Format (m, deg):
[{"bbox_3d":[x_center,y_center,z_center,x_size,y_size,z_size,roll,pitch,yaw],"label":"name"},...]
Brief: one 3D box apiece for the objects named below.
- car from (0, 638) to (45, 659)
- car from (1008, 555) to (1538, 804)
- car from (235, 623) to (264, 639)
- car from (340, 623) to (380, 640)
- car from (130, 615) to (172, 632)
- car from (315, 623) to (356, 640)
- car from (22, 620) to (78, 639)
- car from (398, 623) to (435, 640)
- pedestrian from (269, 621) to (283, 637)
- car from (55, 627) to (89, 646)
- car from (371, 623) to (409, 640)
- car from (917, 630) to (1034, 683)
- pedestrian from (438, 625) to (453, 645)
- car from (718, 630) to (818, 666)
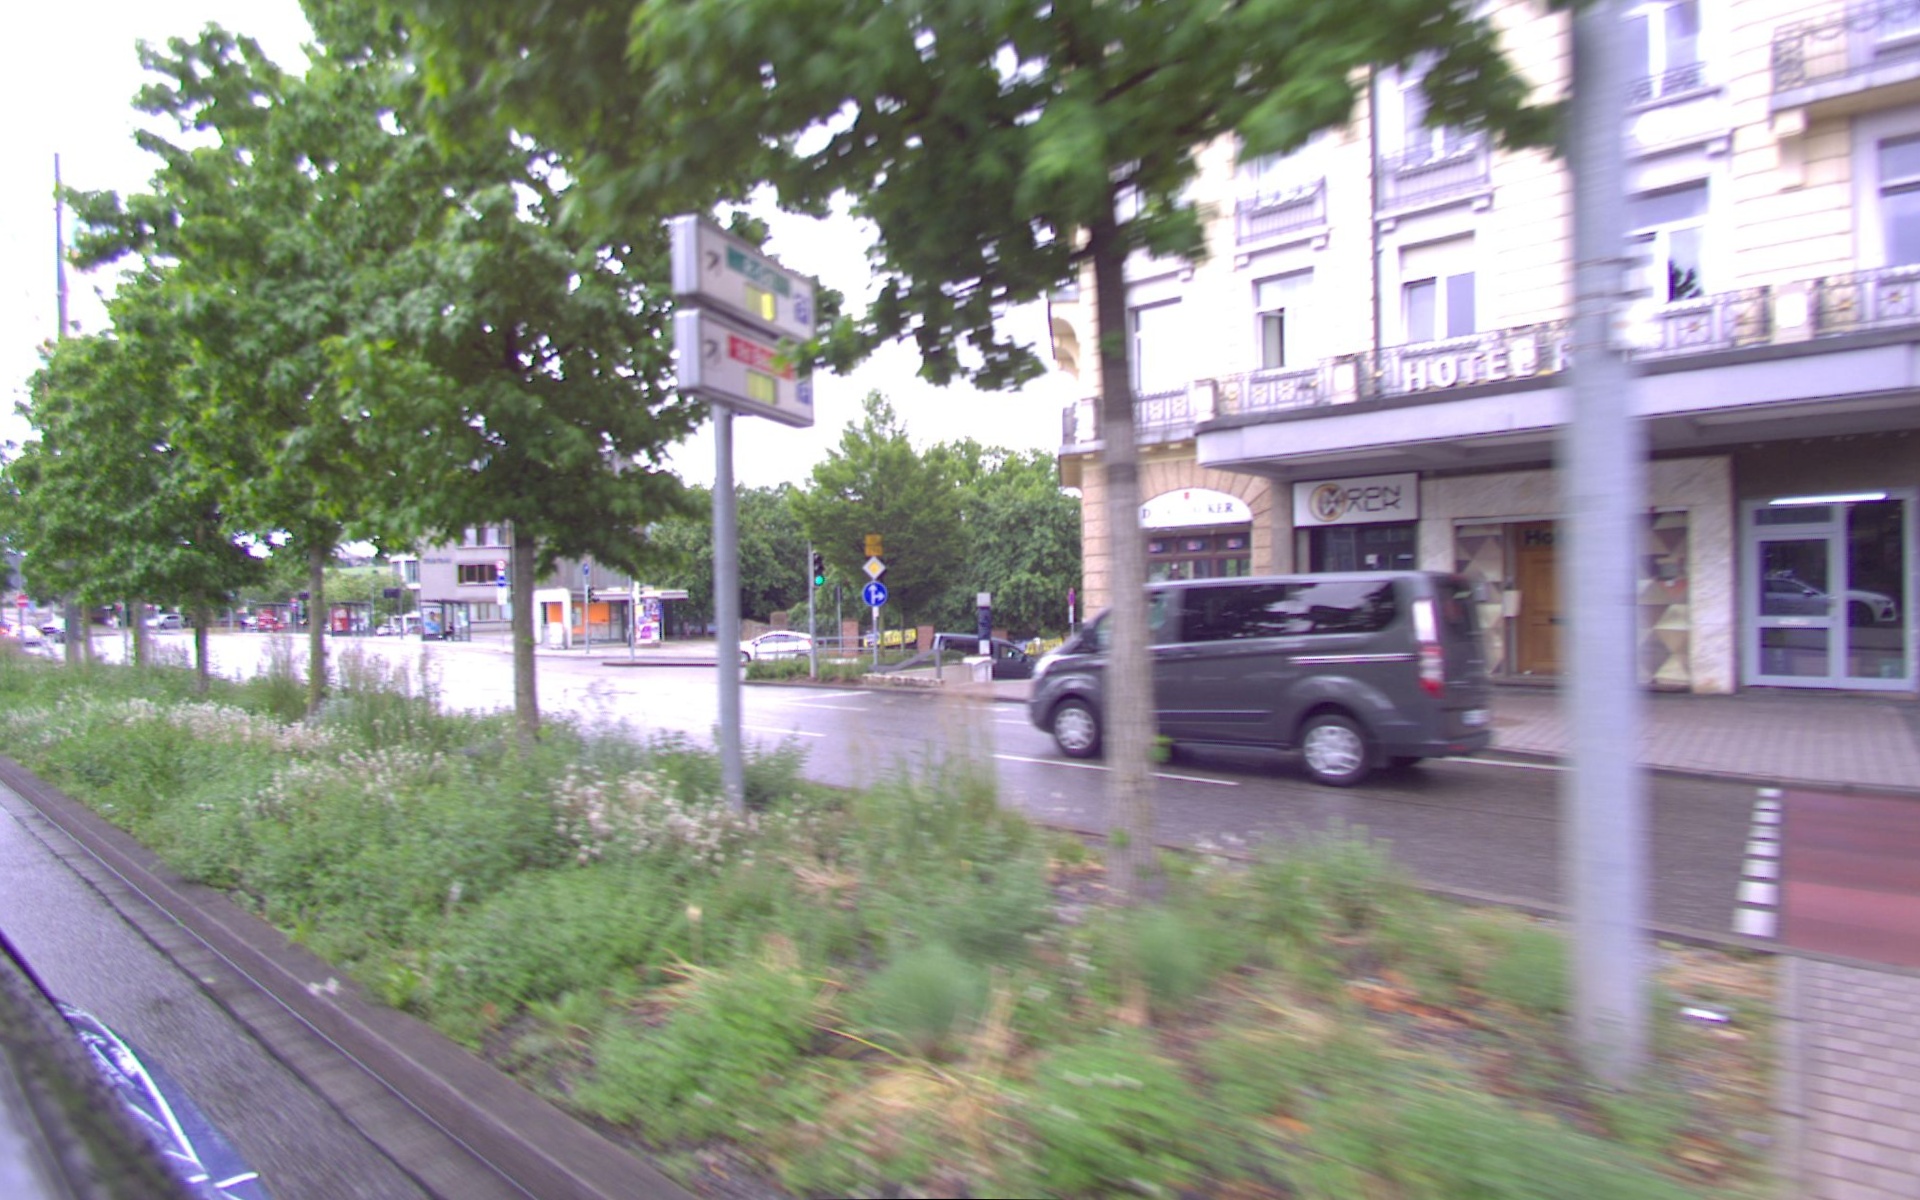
[{"bbox_3d":[-67.395,3.463,72.689,4.163,1.363,1.984,-1,-2,42],"label":"car"},{"bbox_3d":[3.053,0.695,10.689,5.001,2.029,1.972,-1,-2,43],"label":"car"},{"bbox_3d":[-93.213,4.020,132.825,1.965,2.029,4.012,1,-2,-19],"label":"car"},{"bbox_3d":[-61.967,3.228,104.585,1.849,1.715,4.161,1,-2,-4],"label":"car"},{"bbox_3d":[-91.011,2.651,113.895,1.967,1.896,4.009,1,-2,-11],"label":"car"},{"bbox_3d":[-64.444,3.203,104.512,1.849,1.715,4.161,1,-2,-4],"label":"car"},{"bbox_3d":[-87.213,2.813,97.034,1.865,1.726,4.224,1,-2,-8],"label":"car"},{"bbox_3d":[-56.491,3.299,105.283,1.849,1.715,4.161,1,-2,-4],"label":"car"},{"bbox_3d":[-61.847,2.635,91.533,0.969,1.501,0.735,2,-2,-39],"label":"pedestrian"},{"bbox_3d":[-70.677,2.893,80.552,4.453,1.477,1.675,-1,-2,45],"label":"car"},{"bbox_3d":[-58.961,3.249,104.808,1.849,1.715,4.161,0,-1,-4],"label":"car"},{"bbox_3d":[0.520,1.978,35.994,3.936,1.772,1.638,0,-2,-9],"label":"car"},{"bbox_3d":[-33.143,2.241,65.215,0.659,1.309,0.720,2,-2,-44],"label":"pedestrian"},{"bbox_3d":[-7.973,1.994,42.315,3.940,1.409,1.636,-1,-2,-4],"label":"car"}]
